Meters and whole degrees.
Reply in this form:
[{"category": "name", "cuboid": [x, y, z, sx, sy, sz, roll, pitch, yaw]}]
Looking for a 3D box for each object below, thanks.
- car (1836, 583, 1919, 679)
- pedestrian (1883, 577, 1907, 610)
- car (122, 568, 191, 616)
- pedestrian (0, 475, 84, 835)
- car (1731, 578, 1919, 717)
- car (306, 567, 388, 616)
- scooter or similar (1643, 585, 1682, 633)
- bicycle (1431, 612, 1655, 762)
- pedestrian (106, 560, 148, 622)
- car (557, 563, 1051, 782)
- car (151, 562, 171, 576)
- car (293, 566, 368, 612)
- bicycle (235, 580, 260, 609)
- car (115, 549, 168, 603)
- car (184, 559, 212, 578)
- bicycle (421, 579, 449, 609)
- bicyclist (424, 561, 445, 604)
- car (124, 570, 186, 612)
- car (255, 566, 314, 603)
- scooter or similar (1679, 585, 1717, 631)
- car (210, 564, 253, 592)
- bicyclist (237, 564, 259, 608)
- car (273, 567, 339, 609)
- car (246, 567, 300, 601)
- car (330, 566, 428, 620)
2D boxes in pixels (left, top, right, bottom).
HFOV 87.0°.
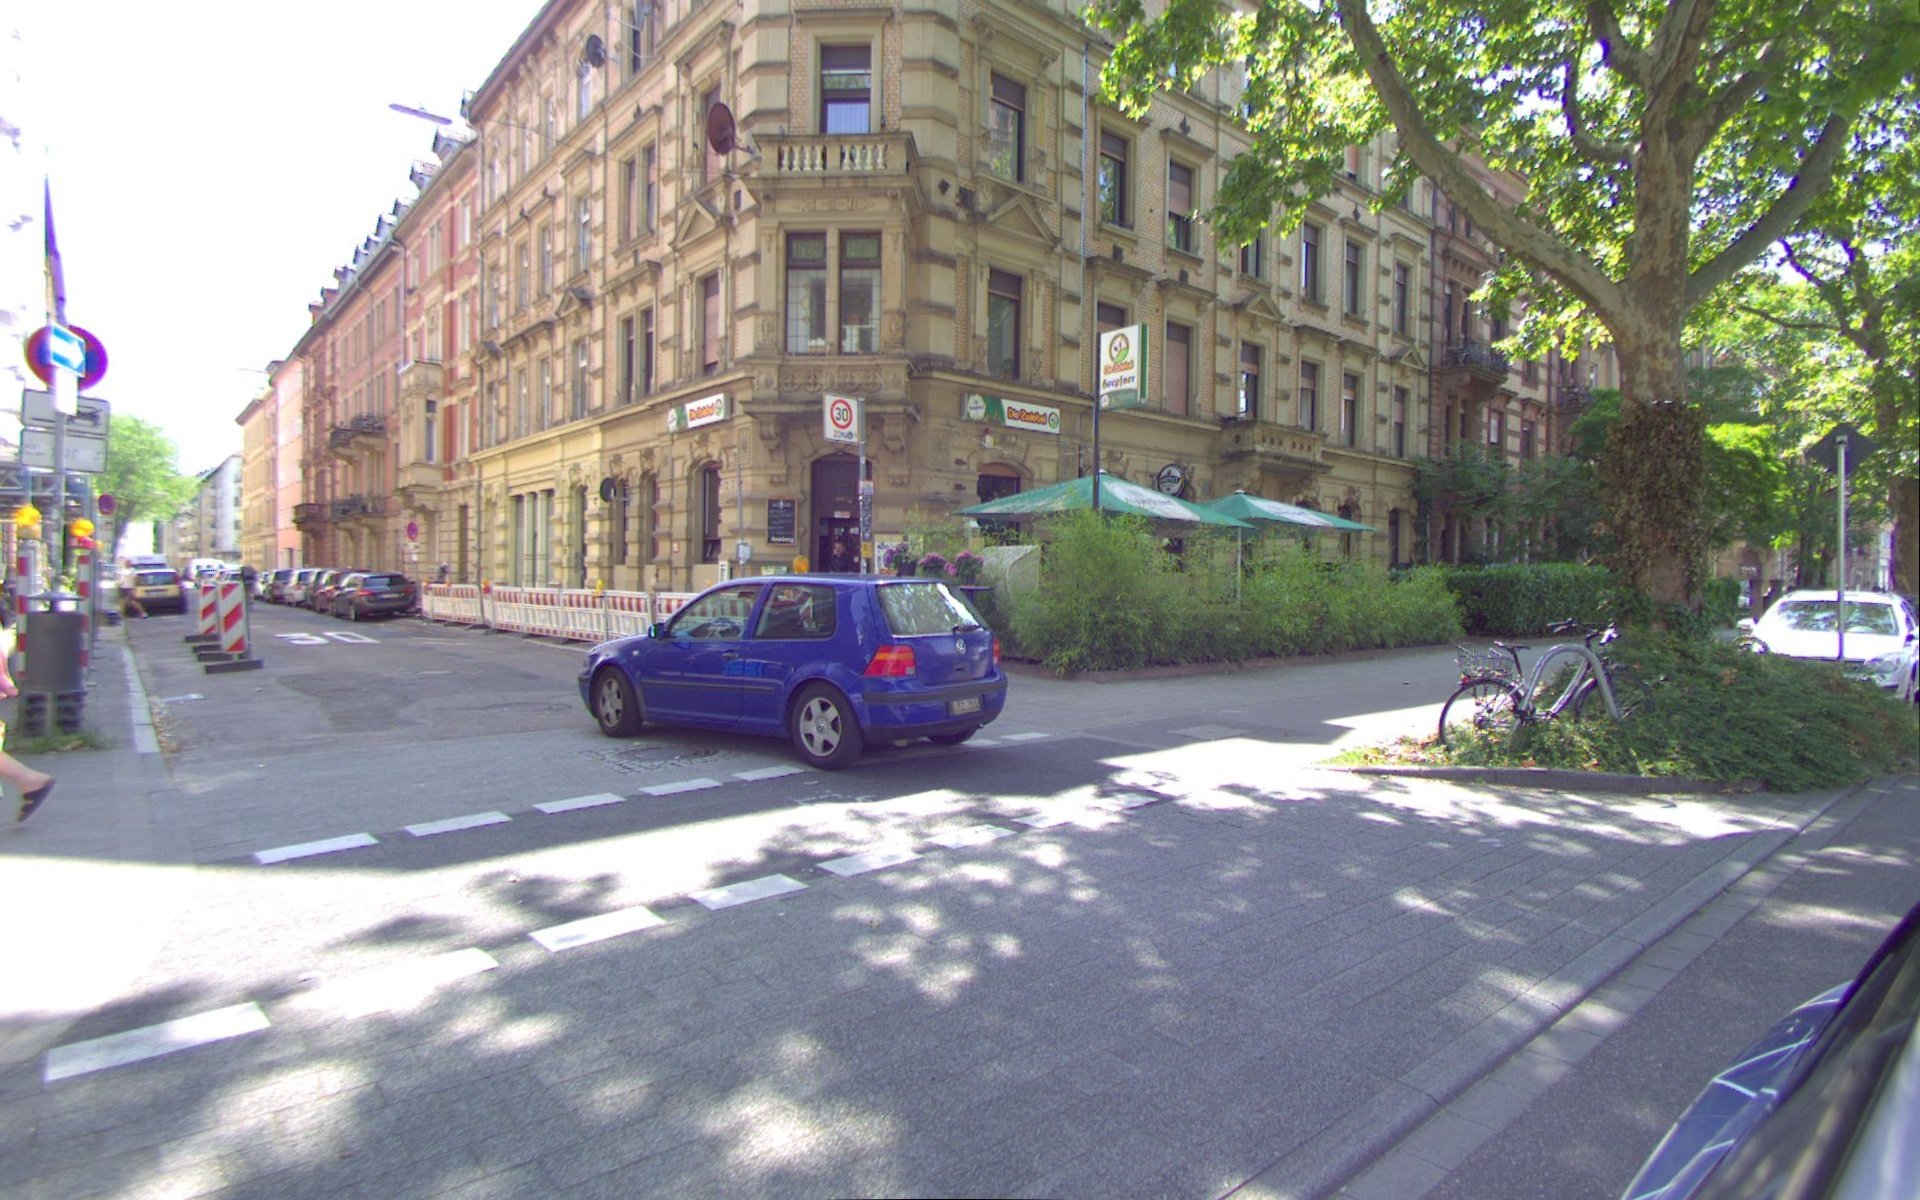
[{"category": "car", "cuboid": [17.152, 0.484, 17.878, 4.561, 1.526, 1.837, -1, 2, -40]}, {"category": "pedestrian", "cuboid": [49.575, -0.365, 53.666, 0.951, 1.740, 0.796, 0, 1, -41]}, {"category": "car", "cuboid": [-27.512, -0.320, 34.614, 1.698, 1.548, 3.490, 0, 2, -41]}, {"category": "pedestrian", "cuboid": [-5.136, 0.272, 5.284, 0.837, 1.807, 0.737, 0, 1, -41]}, {"category": "car", "cuboid": [11.789, 0.500, 13.427, 4.418, 1.526, 1.835, -1, 2, -44]}, {"category": "car", "cuboid": [-22.224, -0.364, 36.630, 1.965, 1.660, 3.995, 0, 2, -40]}, {"category": "scooter or similar", "cuboid": [18.968, 0.221, 27.311, 1.124, 1.263, 0.583, 0, 1, -40]}, {"category": "bicycle", "cuboid": [4.578, 0.668, 7.973, 1.583, 1.119, 0.423, 0, 1, -8]}, {"category": "pedestrian", "cuboid": [-25.321, -0.288, 30.772, 0.921, 1.821, 1.036, -1, 2, -44]}, {"category": "car", "cuboid": [-1.447, 0.424, 8.682, 4.068, 1.427, 1.864, 2, 2, 36]}, {"category": "car", "cuboid": [-104.258, -3.999, 132.079, 1.965, 1.760, 3.995, 0, 2, -40]}, {"category": "car", "cuboid": [-25.158, -0.482, 40.393, 1.965, 1.760, 3.995, 0, 2, -40]}, {"category": "bicycle", "cuboid": [-26.847, -0.223, 38.114, 0.523, 1.062, 1.922, 0, 2, -42]}, {"category": "car", "cuboid": [-38.324, -1.136, 47.419, 1.879, 2.403, 4.244, 0, 2, -39]}, {"category": "car", "cuboid": [-72.383, -2.987, 96.122, 1.965, 1.760, 3.995, 0, 2, -40]}, {"category": "bicycle", "cuboid": [-18.151, -0.212, 34.975, 0.530, 0.991, 1.307, 0, 1, -43]}, {"category": "bicyclist", "cuboid": [-18.175, -0.591, 35.005, 0.524, 1.471, 0.460, 0, 1, -44]}, {"category": "car", "cuboid": [-31.049, -0.376, 39.003, 1.698, 1.548, 3.489, -1, 2, -41]}, {"category": "car", "cuboid": [-33.055, -0.787, 49.451, 1.965, 1.760, 3.995, 0, 2, -40]}, {"category": "scooter or similar", "cuboid": [21.095, 0.216, 28.938, 1.124, 1.298, 0.583, 0, 1, -39]}, {"category": "car", "cuboid": [-47.761, -1.453, 66.306, 1.965, 1.760, 3.995, 0, 2, -40]}, {"category": "bicyclist", "cuboid": [-26.777, -0.527, 38.044, 0.614, 1.643, 0.693, 0, 1, -42]}, {"category": "car", "cuboid": [-28.826, -0.561, 44.565, 1.965, 1.760, 3.995, 0, 2, -40]}, {"category": "car", "cuboid": [-36.478, -0.878, 53.673, 1.965, 1.760, 3.995, 0, 2, -40]}, {"category": "car", "cuboid": [-18.258, -0.271, 31.722, 1.965, 1.571, 3.995, 0, 2, -40]}]
